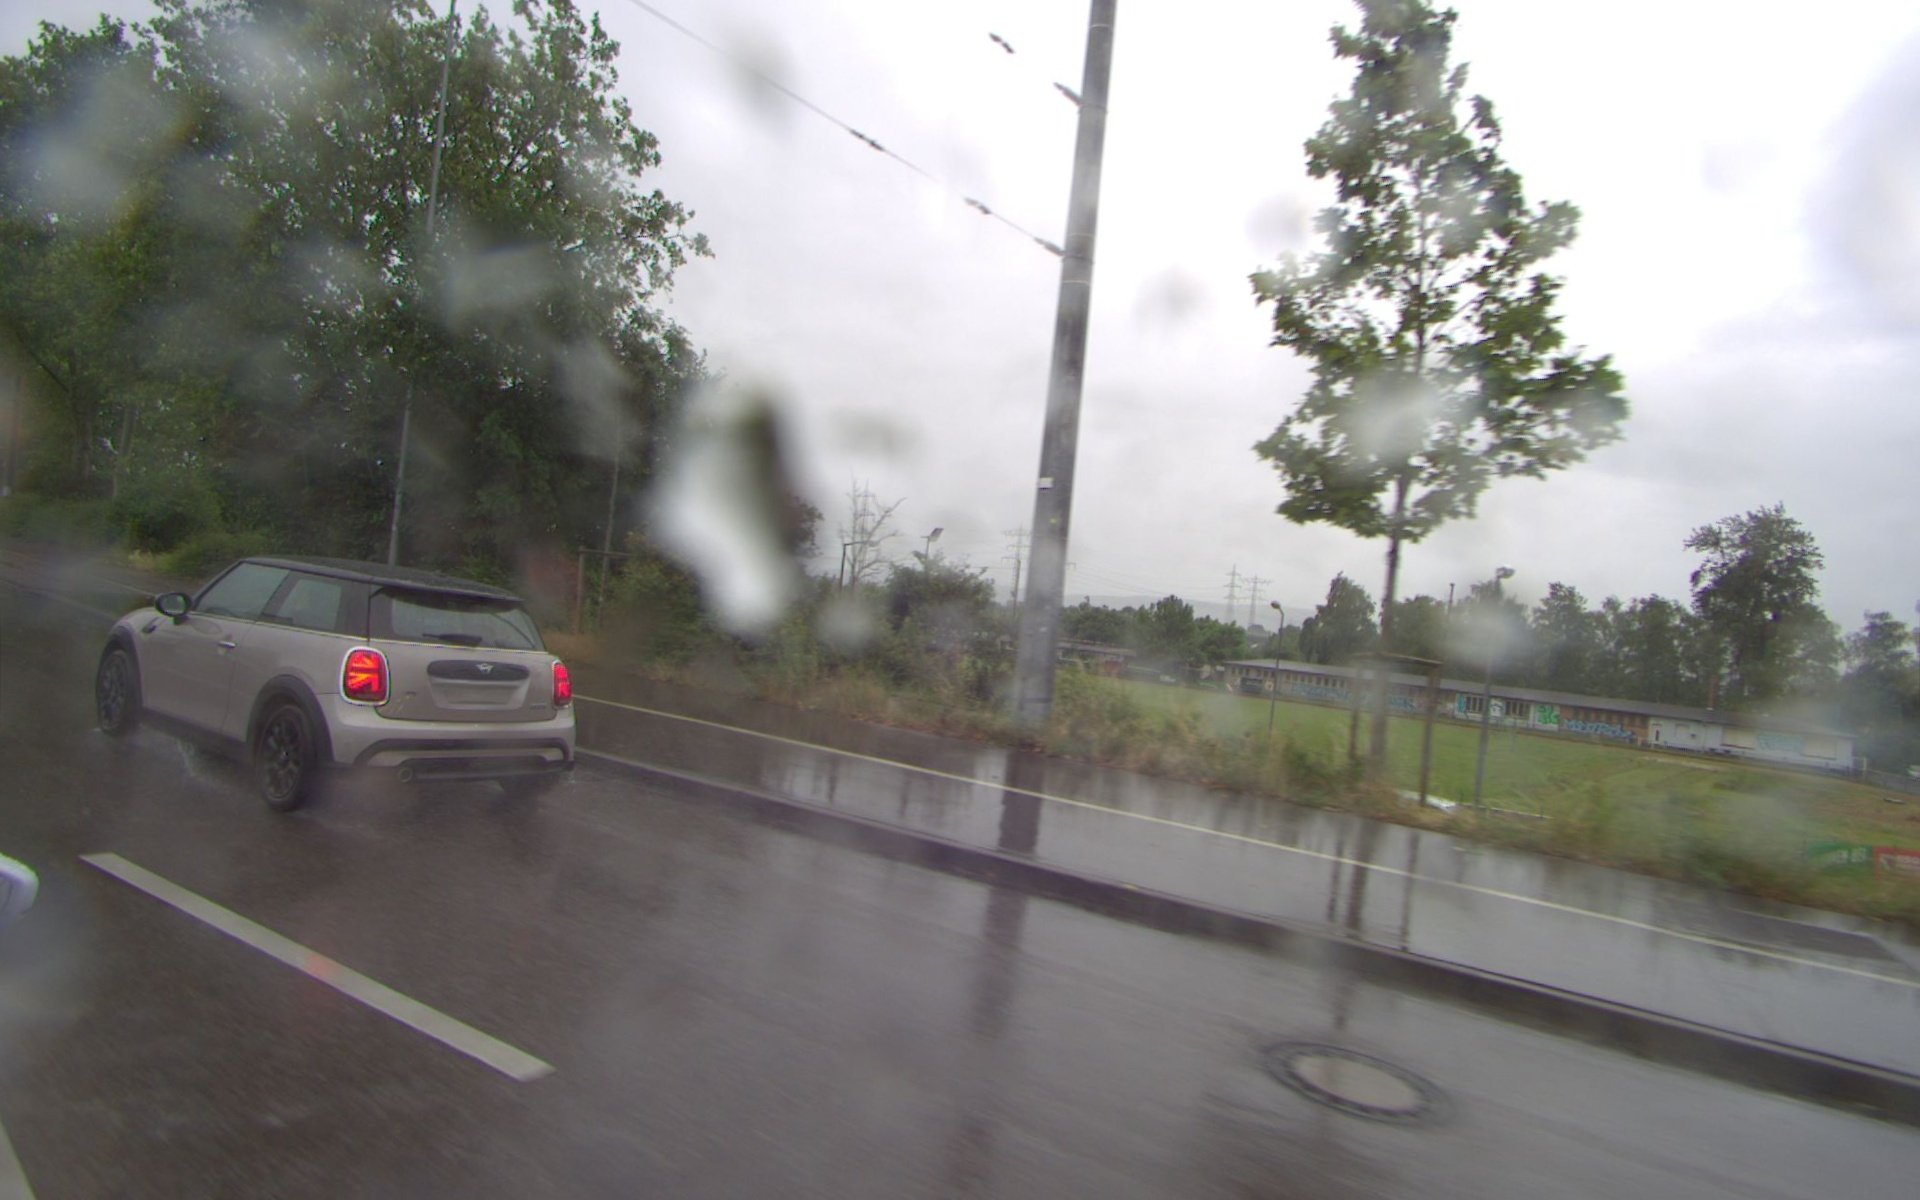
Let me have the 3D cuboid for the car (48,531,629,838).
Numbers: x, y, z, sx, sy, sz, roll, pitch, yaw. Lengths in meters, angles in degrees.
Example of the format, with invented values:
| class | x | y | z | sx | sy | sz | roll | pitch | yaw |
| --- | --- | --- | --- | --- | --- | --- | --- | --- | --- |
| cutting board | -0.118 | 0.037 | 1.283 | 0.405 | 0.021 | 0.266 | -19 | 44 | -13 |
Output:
| class | x | y | z | sx | sy | sz | roll | pitch | yaw |
| --- | --- | --- | --- | --- | --- | --- | --- | --- | --- |
| car | -4.353 | 0.449 | 6.947 | 3.790 | 1.430 | 1.794 | 5 | -2 | 31 |

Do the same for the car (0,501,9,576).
| class | x | y | z | sx | sy | sz | roll | pitch | yaw |
| --- | --- | --- | --- | --- | --- | --- | --- | --- | --- |
| car | -17.659 | -1.097 | 16.791 | 3.931 | 1.546 | 1.968 | 7 | -1 | 38 |
